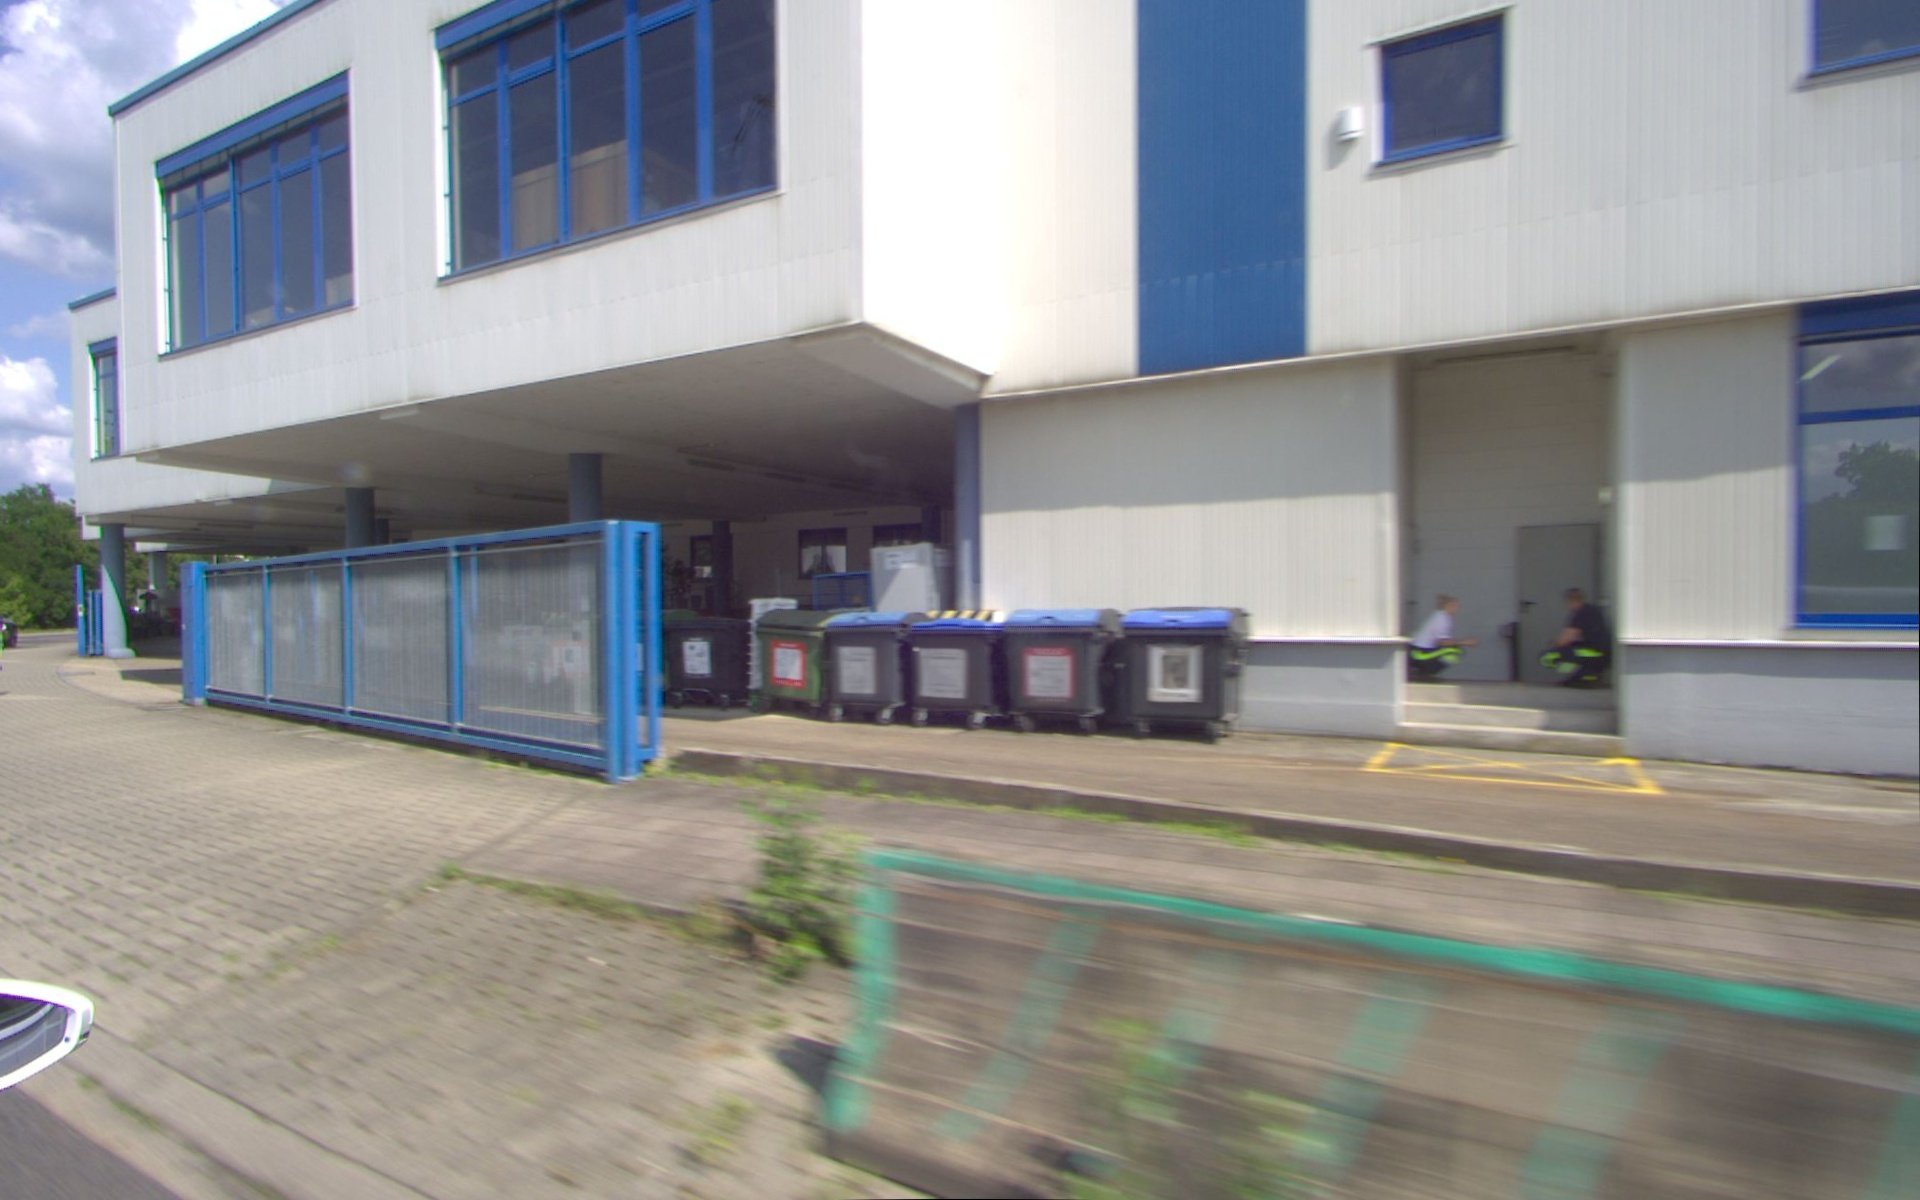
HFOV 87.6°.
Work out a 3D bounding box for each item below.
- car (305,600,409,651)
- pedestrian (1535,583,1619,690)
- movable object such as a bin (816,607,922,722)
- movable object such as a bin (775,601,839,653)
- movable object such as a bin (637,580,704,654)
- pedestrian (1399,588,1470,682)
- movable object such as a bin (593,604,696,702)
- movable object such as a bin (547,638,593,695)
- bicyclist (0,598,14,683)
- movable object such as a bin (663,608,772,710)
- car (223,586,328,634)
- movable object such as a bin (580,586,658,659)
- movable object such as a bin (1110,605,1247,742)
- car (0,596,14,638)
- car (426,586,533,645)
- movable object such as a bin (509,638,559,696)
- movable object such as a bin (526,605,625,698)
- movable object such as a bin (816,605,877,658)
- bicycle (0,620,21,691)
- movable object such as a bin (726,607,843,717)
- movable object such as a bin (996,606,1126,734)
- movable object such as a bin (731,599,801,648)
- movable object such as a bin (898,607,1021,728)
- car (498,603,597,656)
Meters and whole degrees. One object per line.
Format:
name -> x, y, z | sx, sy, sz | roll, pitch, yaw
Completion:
car -> -22.885, 0.918, 38.164 | 1.638, 1.682, 3.660 | 1, 3, 2
pedestrian -> 6.547, 0.385, 10.656 | 0.739, 1.089, 0.564 | 0, -2, 29
movable object such as a bin -> -1.190, 0.815, 13.143 | 1.156, 1.432, 0.804 | 0, 0, 27
movable object such as a bin -> -4.557, 0.793, 29.873 | 1.416, 1.488, 1.333 | 1, 1, 26
movable object such as a bin -> -8.679, 0.495, 30.146 | 1.292, 2.113, 2.916 | 1, 0, -3
pedestrian -> 5.390, 0.402, 11.365 | 0.700, 1.026, 0.564 | 0, -2, 29
movable object such as a bin -> -4.840, 0.785, 15.358 | 1.336, 1.432, 0.804 | 0, 0, 27
movable object such as a bin -> -6.601, 1.121, 16.961 | 0.411, 0.922, 0.598 | 0, 0, 27
bicyclist -> -16.483, 0.680, 16.898 | 0.848, 1.416, 0.660 | 1, 1, 40
movable object such as a bin -> -3.559, 0.834, 14.720 | 1.383, 1.432, 0.804 | 0, 0, 27
car -> -30.574, 0.493, 44.875 | 3.673, 2.039, 1.990 | 2, -2, -31
movable object such as a bin -> -10.554, 0.666, 31.168 | 1.406, 2.113, 3.435 | 1, 0, -3
movable object such as a bin -> 2.444, 0.782, 11.190 | 1.337, 1.432, 0.803 | 0, 0, 28
car -> -37.504, 0.636, 37.838 | 1.891, 1.614, 4.669 | 0, 0, -35
car -> -15.646, 0.480, 32.823 | 1.725, 1.804, 4.104 | 1, 0, -3
movable object such as a bin -> -7.368, 1.148, 17.322 | 0.536, 0.956, 0.588 | 0, 0, 27
movable object such as a bin -> -6.135, 0.798, 15.995 | 1.336, 1.432, 0.804 | 0, 0, 27
movable object such as a bin -> -3.310, 0.896, 29.238 | 1.272, 1.488, 1.333 | 1, 1, 26
bicycle -> -16.582, 0.924, 17.009 | 2.142, 1.124, 0.663 | 0, 1, 40
movable object such as a bin -> -2.414, 0.821, 13.790 | 1.405, 1.432, 0.804 | 0, 0, 27
movable object such as a bin -> 1.204, 0.792, 11.891 | 1.337, 1.432, 0.803 | 0, 0, 28
movable object such as a bin -> -5.915, 0.700, 30.623 | 1.549, 1.423, 1.464 | 1, 1, 26
movable object such as a bin -> -0.007, 0.811, 12.572 | 1.337, 1.432, 0.803 | 0, 0, 28
car -> -12.979, 0.902, 31.734 | 1.807, 1.566, 3.663 | 1, -1, -3
